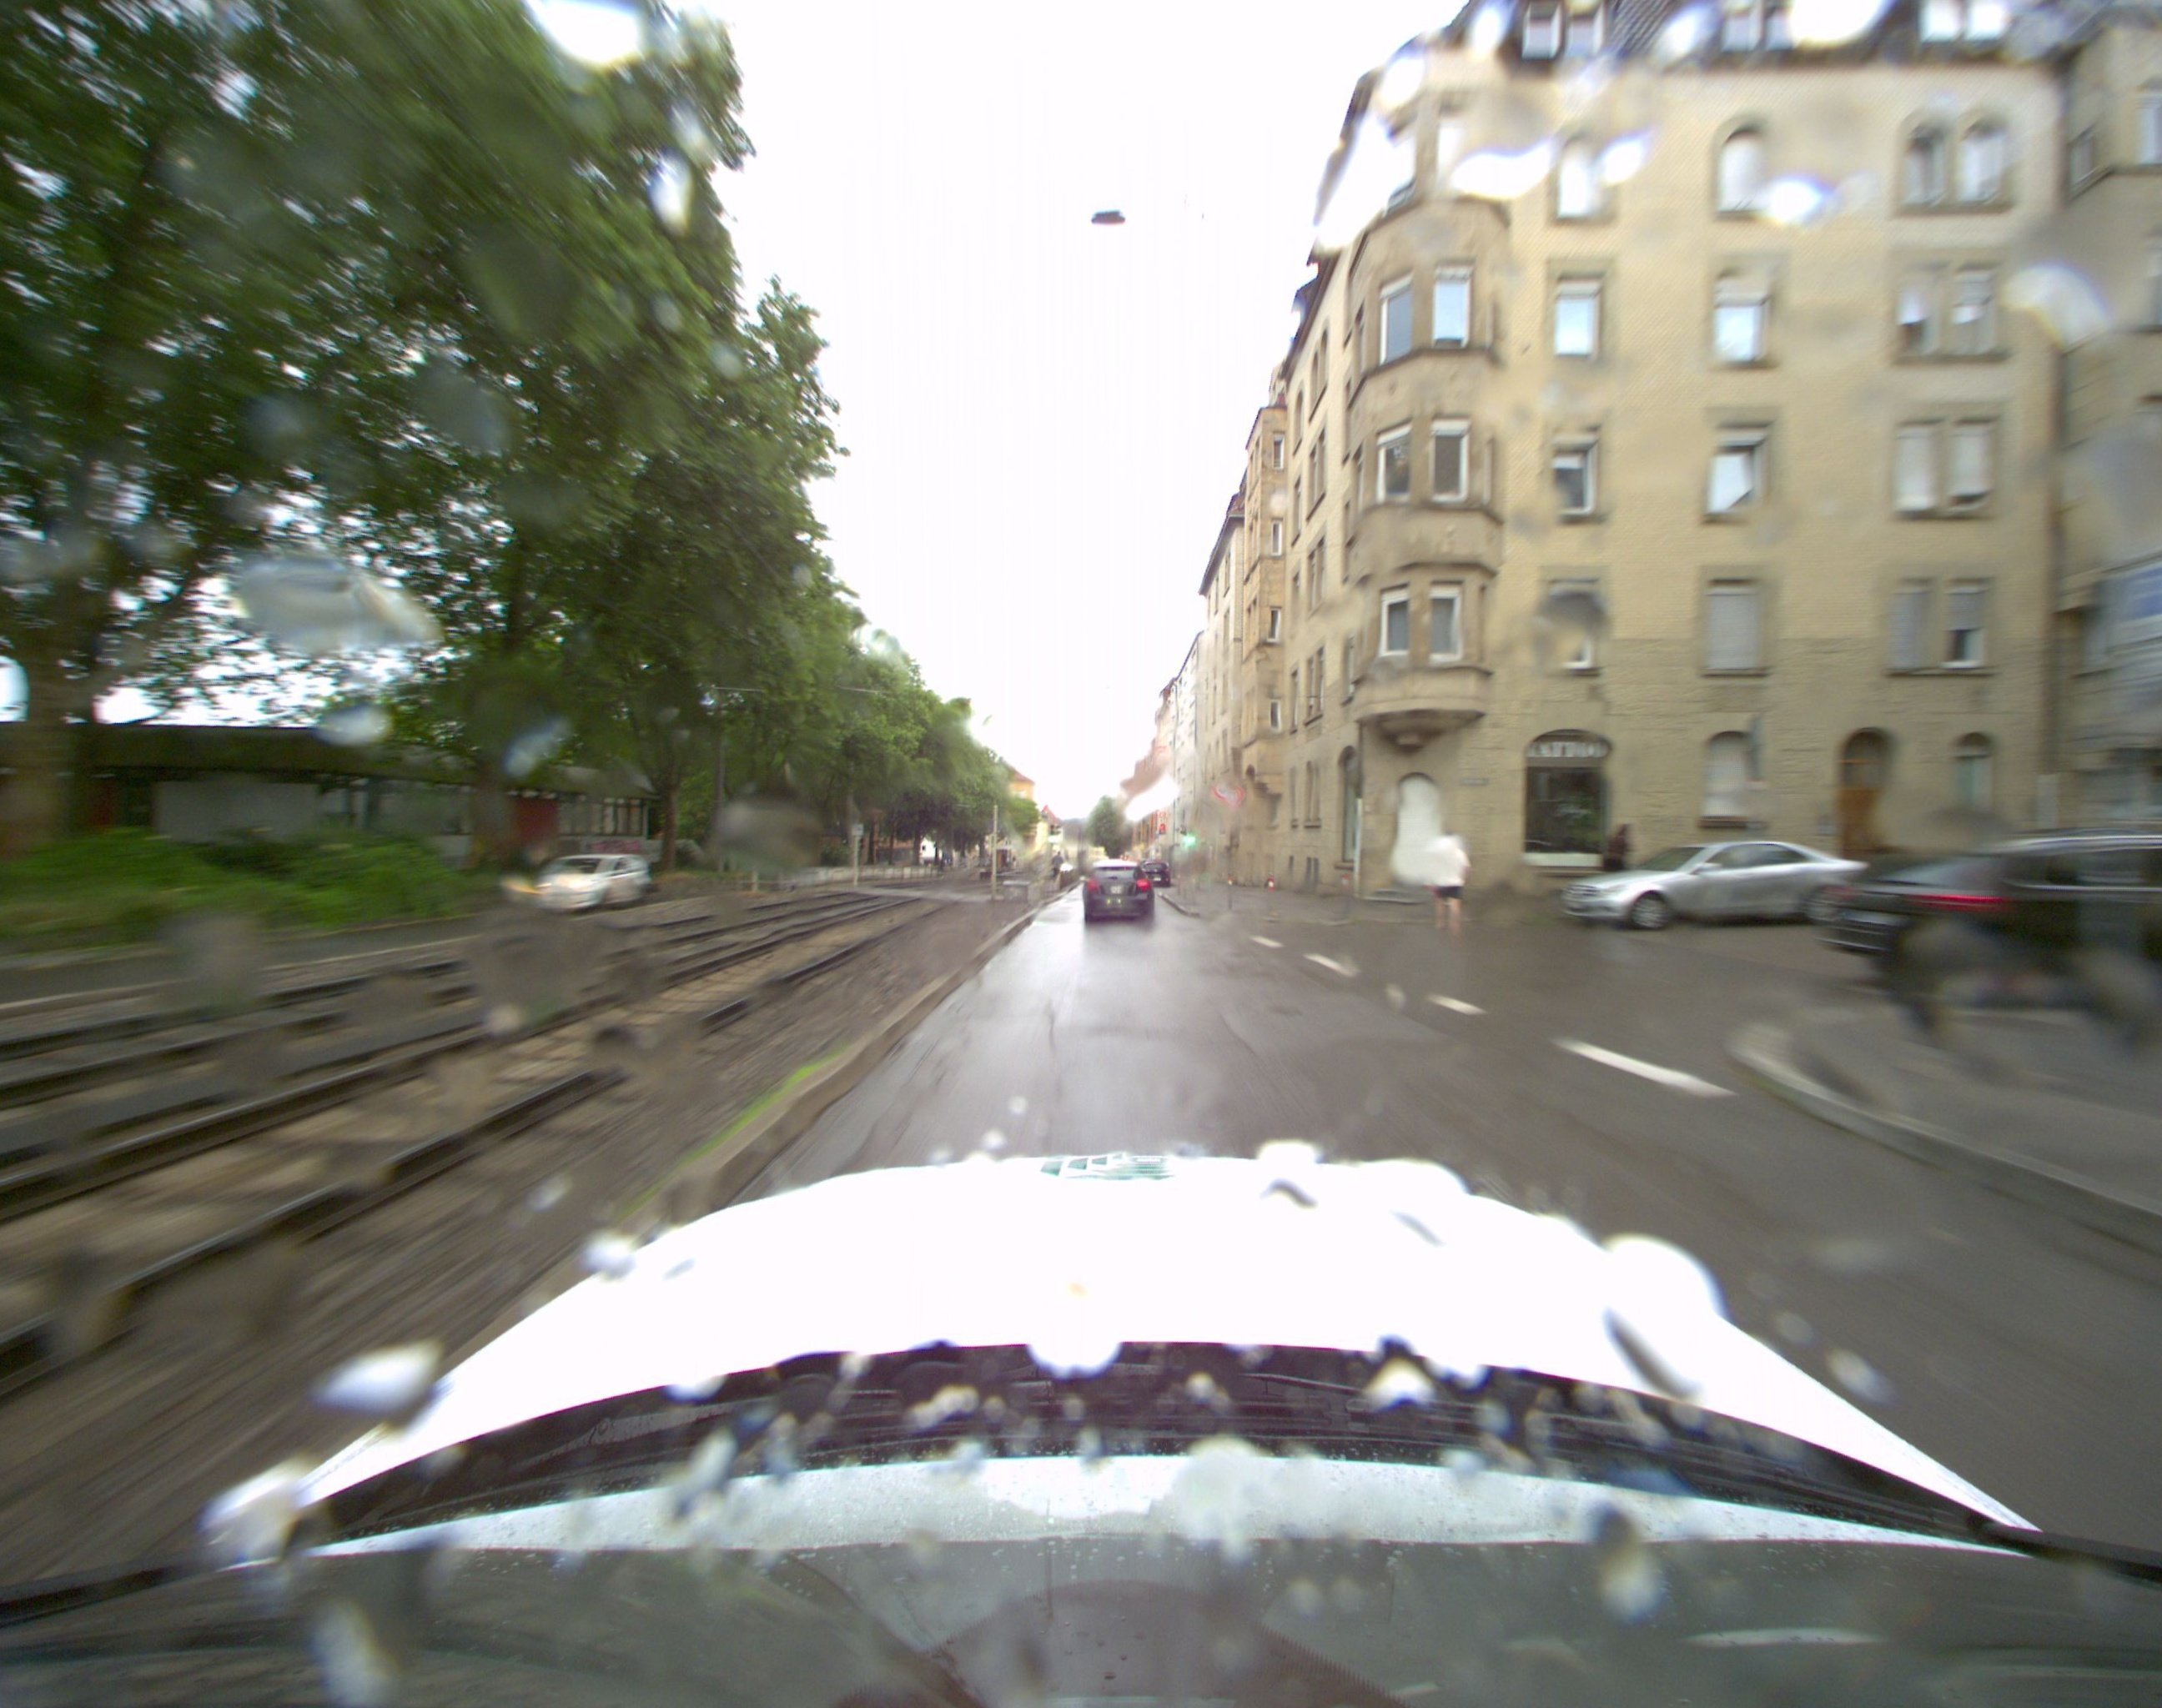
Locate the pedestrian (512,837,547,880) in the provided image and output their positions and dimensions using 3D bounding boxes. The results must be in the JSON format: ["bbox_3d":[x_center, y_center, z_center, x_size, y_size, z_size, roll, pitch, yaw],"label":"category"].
[{"bbox_3d":[-21.890,0.172,32.329,0.614,1.683,1.016,-2,0,2],"label":"pedestrian"}]

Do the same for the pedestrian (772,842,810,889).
[{"bbox_3d":[-10.867,0.409,30.548,1.050,1.718,0.905,1,0,3],"label":"pedestrian"}]

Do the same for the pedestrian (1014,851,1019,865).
[{"bbox_3d":[-8.225,0.515,103.748,0.516,1.717,0.551,2,0,1],"label":"pedestrian"}]

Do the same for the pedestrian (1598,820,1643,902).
[{"bbox_3d":[11.302,0.143,17.084,0.545,1.688,0.627,-1,0,5],"label":"pedestrian"}]

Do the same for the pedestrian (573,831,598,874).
[{"bbox_3d":[-19.689,-0.058,32.389,0.694,1.662,0.638,-1,0,-18],"label":"pedestrian"}]

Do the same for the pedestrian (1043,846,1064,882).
[{"bbox_3d":[-1.559,0.560,46.616,1.135,1.998,1.171,-2,0,-3],"label":"pedestrian"}]

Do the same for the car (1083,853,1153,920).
[{"bbox_3d":[0.875,0.729,20.135,1.574,1.505,3.575,0,0,1],"label":"car"}]

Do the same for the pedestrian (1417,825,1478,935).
[{"bbox_3d":[6.179,0.426,13.772,0.690,1.787,0.760,-2,0,7],"label":"pedestrian"}]

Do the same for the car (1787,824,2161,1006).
[{"bbox_3d":[9.749,0.476,7.681,4.430,1.484,1.866,-2,0,4],"label":"car"}]

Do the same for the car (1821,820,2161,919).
[{"bbox_3d":[15.610,0.238,13.904,4.262,1.420,1.777,-2,0,1],"label":"car"}]

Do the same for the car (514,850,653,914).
[{"bbox_3d":[-12.753,0.640,21.174,1.657,1.497,3.777,0,0,-7],"label":"car"}]

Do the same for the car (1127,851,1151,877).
[{"bbox_3d":[4.709,0.791,66.783,1.753,2.013,4.001,-2,0,1],"label":"car"}]

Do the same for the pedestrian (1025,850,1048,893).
[{"bbox_3d":[-1.747,0.680,32.202,0.803,1.633,0.892,-2,0,2],"label":"pedestrian"}]

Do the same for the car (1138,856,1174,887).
[{"bbox_3d":[4.302,0.985,47.227,1.820,1.618,3.866,-2,0,2],"label":"car"}]

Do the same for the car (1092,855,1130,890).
[{"bbox_3d":[1.445,0.860,39.563,1.778,1.581,4.001,0,0,2],"label":"car"}]

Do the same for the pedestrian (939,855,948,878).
[{"bbox_3d":[-10.596,0.927,62.783,0.532,1.754,0.607,2,0,2],"label":"pedestrian"}]

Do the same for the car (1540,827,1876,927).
[{"bbox_3d":[10.669,0.375,14.137,4.318,1.531,1.893,-1,0,3],"label":"car"}]

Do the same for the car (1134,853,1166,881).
[{"bbox_3d":[4.335,0.779,51.370,1.753,1.579,4.001,-2,0,1],"label":"car"}]

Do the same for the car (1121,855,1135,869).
[{"bbox_3d":[7.109,1.249,123.752,1.986,2.013,4.003,-2,0,2],"label":"car"}]

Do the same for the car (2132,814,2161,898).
[{"bbox_3d":[21.122,-0.021,13.696,4.258,1.483,1.778,-1,-2,4],"label":"car"}]
